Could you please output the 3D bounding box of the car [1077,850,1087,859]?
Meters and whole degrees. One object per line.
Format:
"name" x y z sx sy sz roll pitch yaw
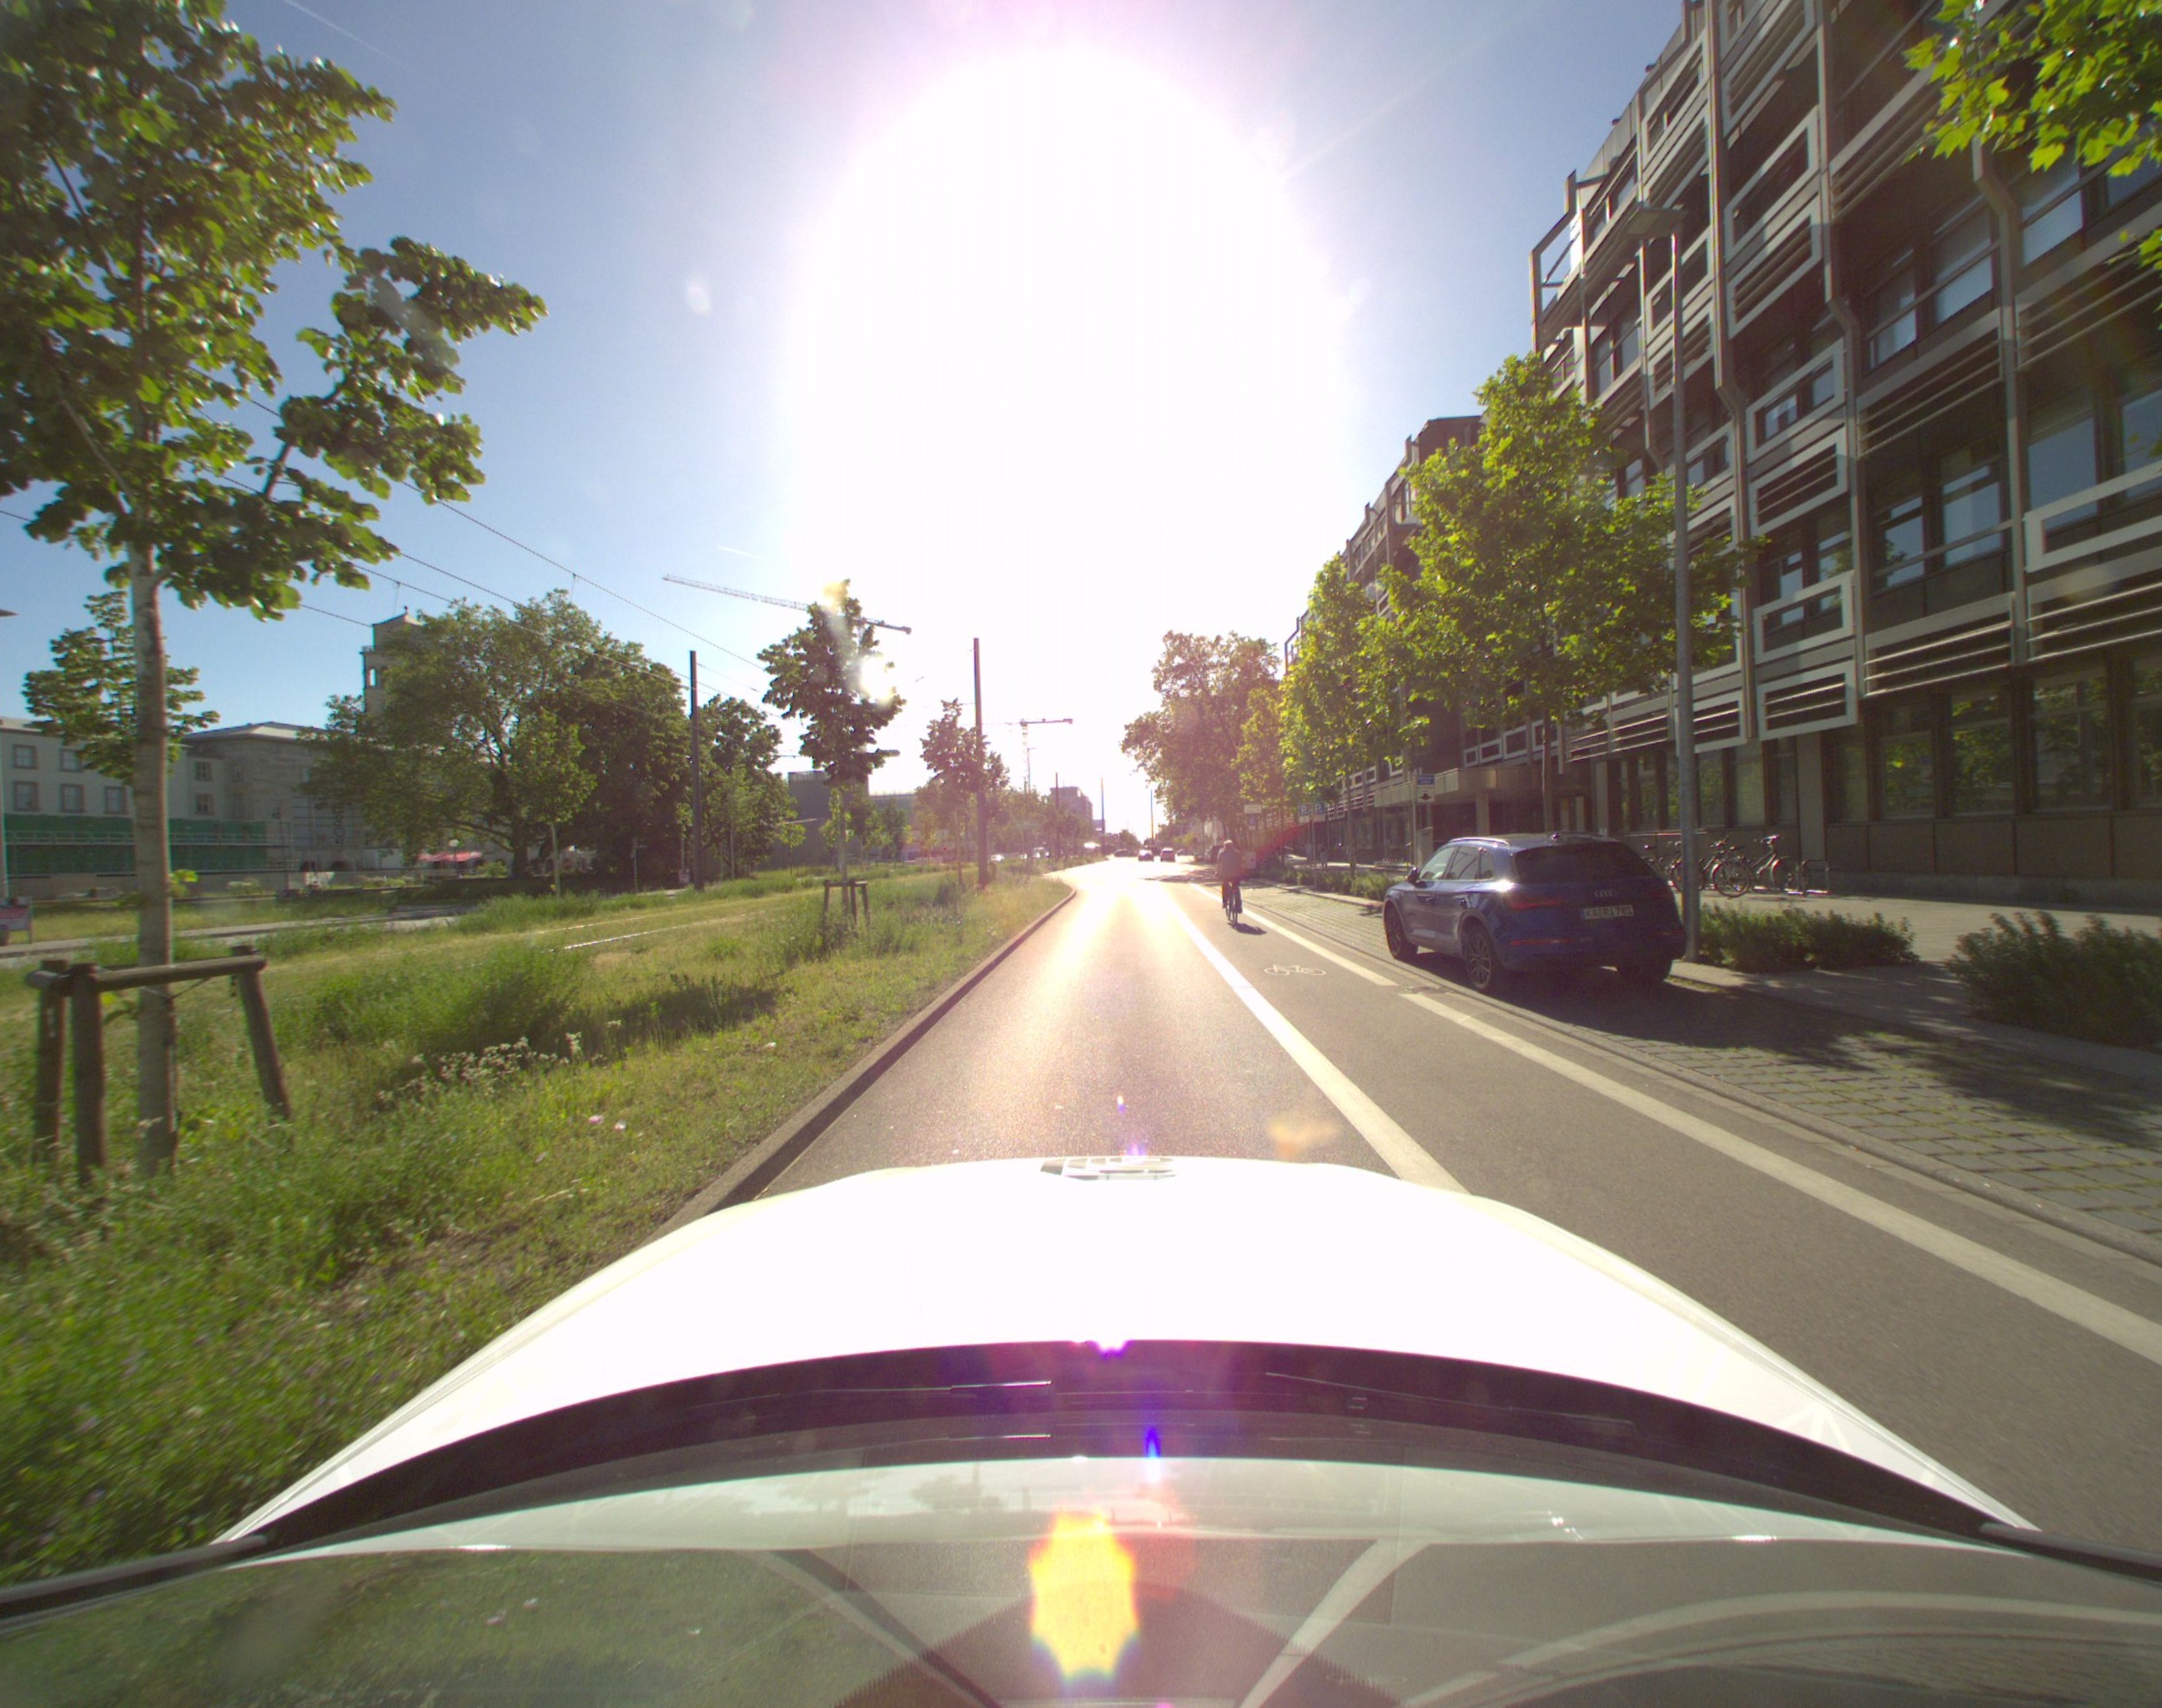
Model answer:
"car" 0.266 0.049 171.014 1.889 1.816 4.002 0 -1 3

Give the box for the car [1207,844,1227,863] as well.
"car" 14.121 -0.085 84.512 1.695 1.790 4.199 -4 0 6

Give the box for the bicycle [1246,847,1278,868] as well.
"bicycle" 12.136 0.215 54.634 1.929 1.236 0.579 -5 0 2

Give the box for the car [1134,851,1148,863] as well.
"car" 8.129 0.418 110.235 1.903 1.486 4.015 -2 0 5

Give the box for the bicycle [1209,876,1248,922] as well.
"bicycle" 3.252 0.968 18.104 0.496 0.906 2.197 0 0 1

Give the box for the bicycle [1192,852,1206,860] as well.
"bicycle" 15.251 0.245 105.508 1.687 0.957 0.478 -3 0 1

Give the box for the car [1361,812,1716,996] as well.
"car" 5.193 0.466 10.204 1.842 1.657 4.852 -3 0 3

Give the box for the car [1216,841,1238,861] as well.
"car" 13.065 -0.283 73.076 1.694 1.643 4.646 -2 0 8

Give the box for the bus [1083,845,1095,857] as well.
"bus" 2.053 -0.764 202.278 2.616 2.783 8.851 0 -1 3

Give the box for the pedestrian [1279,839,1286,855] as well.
"pedestrian" 20.705 -0.747 83.701 0.550 1.603 0.574 -1 0 6

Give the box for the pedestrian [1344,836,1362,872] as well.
"pedestrian" 11.770 -0.001 35.247 0.508 1.474 0.737 -4 0 5

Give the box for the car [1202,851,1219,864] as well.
"car" 15.449 0.387 97.156 1.695 1.492 4.608 -2 0 6

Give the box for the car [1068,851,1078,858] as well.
"car" -1.376 0.139 142.118 1.370 1.178 3.225 0 -1 5

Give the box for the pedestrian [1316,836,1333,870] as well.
"pedestrian" 12.453 -0.064 41.642 0.644 1.728 0.804 -2 0 5

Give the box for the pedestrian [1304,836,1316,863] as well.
"pedestrian" 14.805 -0.265 52.644 0.508 1.701 0.775 -4 0 5

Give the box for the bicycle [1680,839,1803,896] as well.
"bicycle" 12.571 0.255 15.532 1.848 0.939 0.427 -4 0 6

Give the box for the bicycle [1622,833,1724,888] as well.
"bicycle" 13.430 0.145 18.498 1.848 1.097 0.427 -4 0 6

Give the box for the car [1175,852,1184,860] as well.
"car" 20.412 0.341 168.912 1.655 1.649 3.705 0 -1 4

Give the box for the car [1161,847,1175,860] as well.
"car" 11.369 -0.032 106.253 1.712 1.618 4.195 -2 0 7

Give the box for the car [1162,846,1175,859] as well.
"car" 12.852 -0.248 119.806 1.714 1.782 4.191 -2 0 4

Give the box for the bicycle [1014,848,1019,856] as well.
"bicycle" -11.423 -0.392 144.313 0.358 1.455 1.917 -1 0 6

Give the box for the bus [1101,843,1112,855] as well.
"bus" 6.899 -1.242 219.008 2.616 2.959 9.906 0 -1 3

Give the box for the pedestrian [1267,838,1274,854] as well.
"pedestrian" 19.414 -0.818 83.477 0.504 1.584 0.634 -2 0 -3

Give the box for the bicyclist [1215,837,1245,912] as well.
"bicyclist" 3.256 0.444 17.792 0.511 1.601 0.536 -2 0 1

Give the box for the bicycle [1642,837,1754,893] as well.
"bicycle" 12.767 0.227 16.877 1.848 1.011 0.427 -4 0 6
